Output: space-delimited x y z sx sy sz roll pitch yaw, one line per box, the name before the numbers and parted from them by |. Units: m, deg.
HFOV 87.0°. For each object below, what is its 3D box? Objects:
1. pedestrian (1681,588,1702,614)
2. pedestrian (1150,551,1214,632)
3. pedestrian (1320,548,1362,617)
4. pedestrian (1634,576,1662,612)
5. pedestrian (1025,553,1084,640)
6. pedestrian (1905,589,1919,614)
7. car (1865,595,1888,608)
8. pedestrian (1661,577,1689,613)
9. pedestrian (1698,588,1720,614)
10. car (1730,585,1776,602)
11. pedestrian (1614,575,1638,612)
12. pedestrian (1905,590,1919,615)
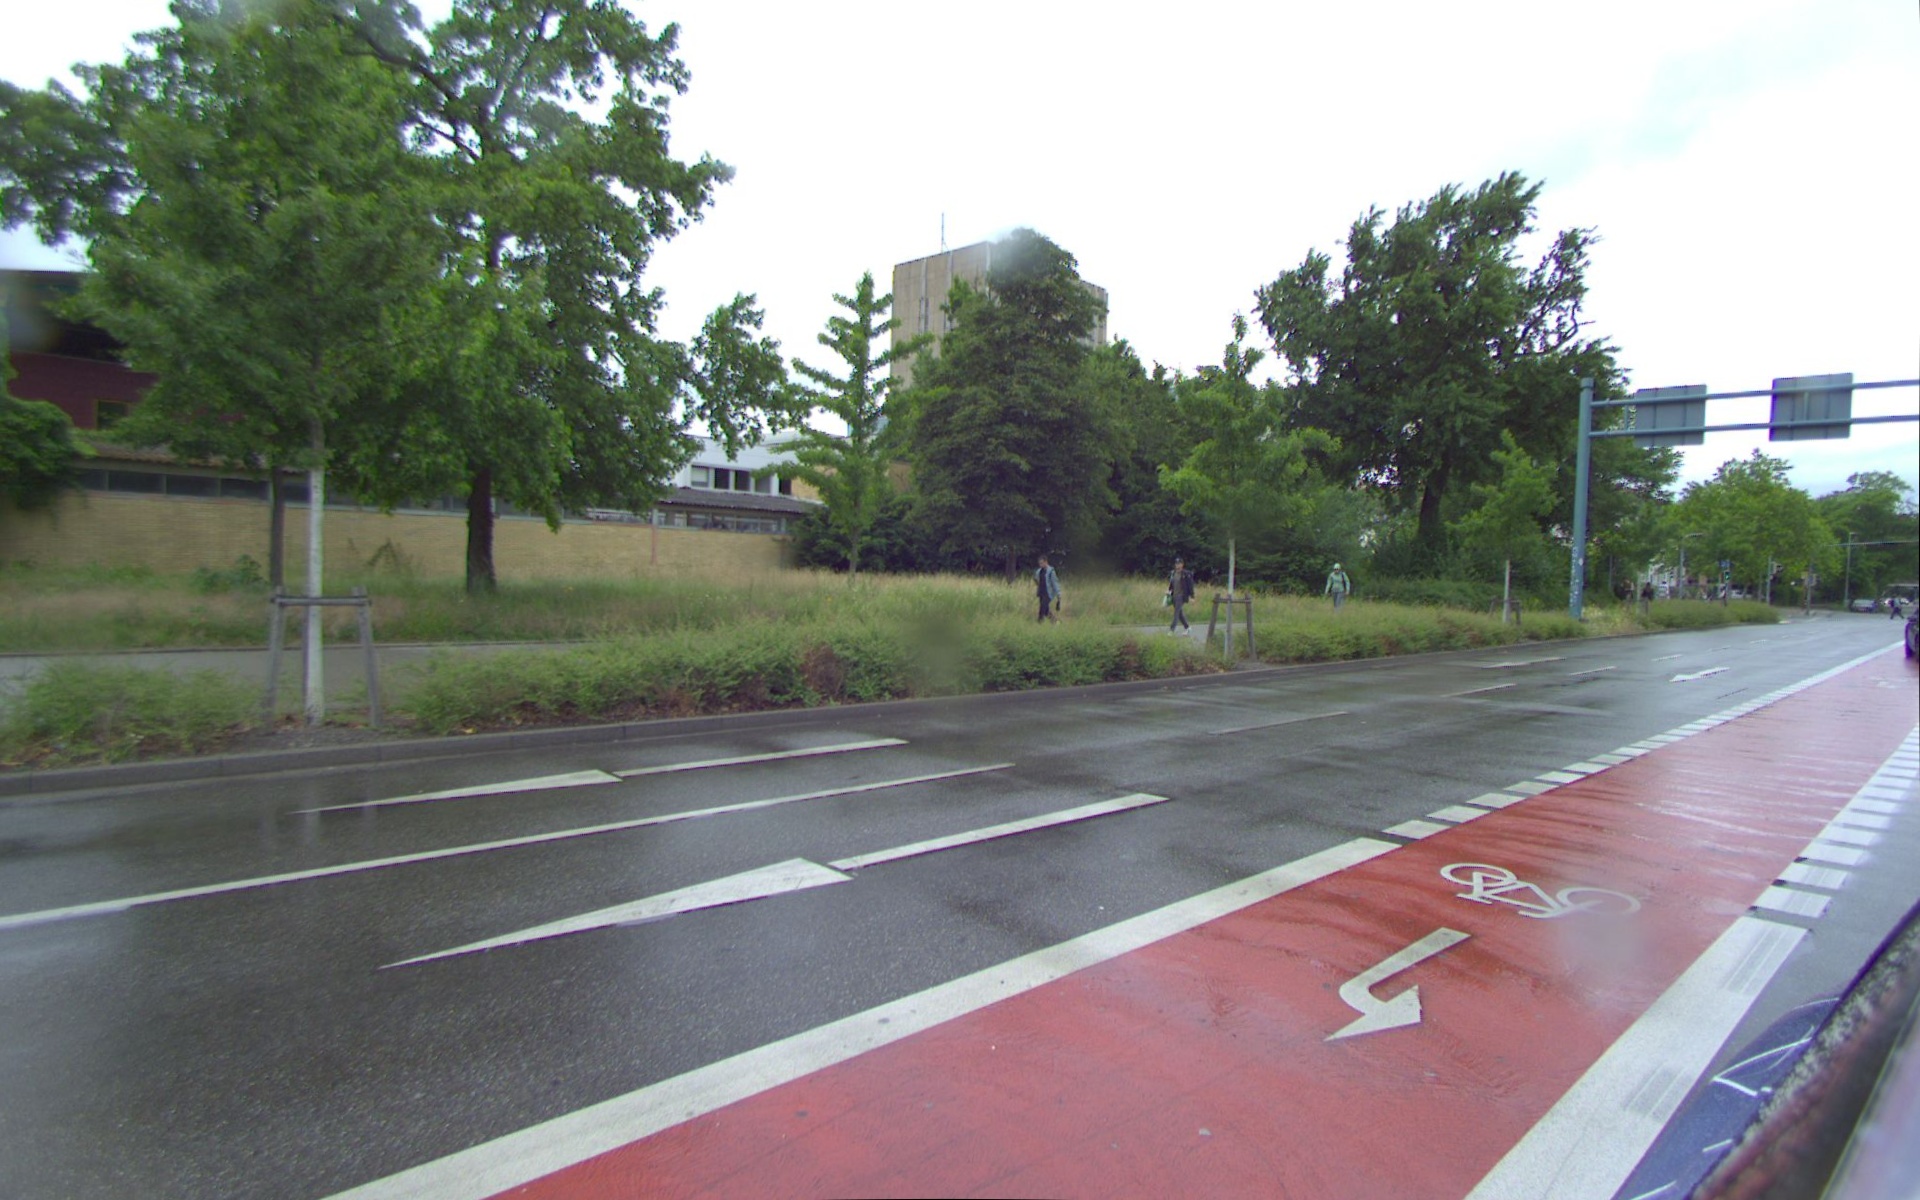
pedestrian | 47.398 0.054 65.582 0.868 1.627 0.856 3 2 25
pedestrian | 5.052 -0.201 23.024 1.026 1.769 0.936 1 2 -38
pedestrian | 11.511 -0.544 30.577 0.813 2.038 0.793 1 2 -38
pedestrian | 34.852 -0.303 51.242 0.814 1.725 0.935 4 -2 -39
pedestrian | 2.037 -0.083 21.857 0.813 1.819 0.936 1 2 -37
pedestrian | 71.923 0.085 76.354 0.784 1.847 0.615 3 2 44
car | 96.324 0.114 106.347 1.657 1.282 4.042 4 3 44
pedestrian | 35.504 -0.257 50.245 0.814 1.743 0.935 4 -2 -39
pedestrian | 48.244 0.083 65.190 0.868 1.627 0.857 3 2 24
car | 97.489 -0.853 124.429 4.405 1.895 1.615 4 2 39
pedestrian | 34.127 -0.332 51.846 0.835 1.882 0.732 1 2 -38
pedestrian | 72.386 0.173 76.850 0.784 1.847 0.615 3 2 43
